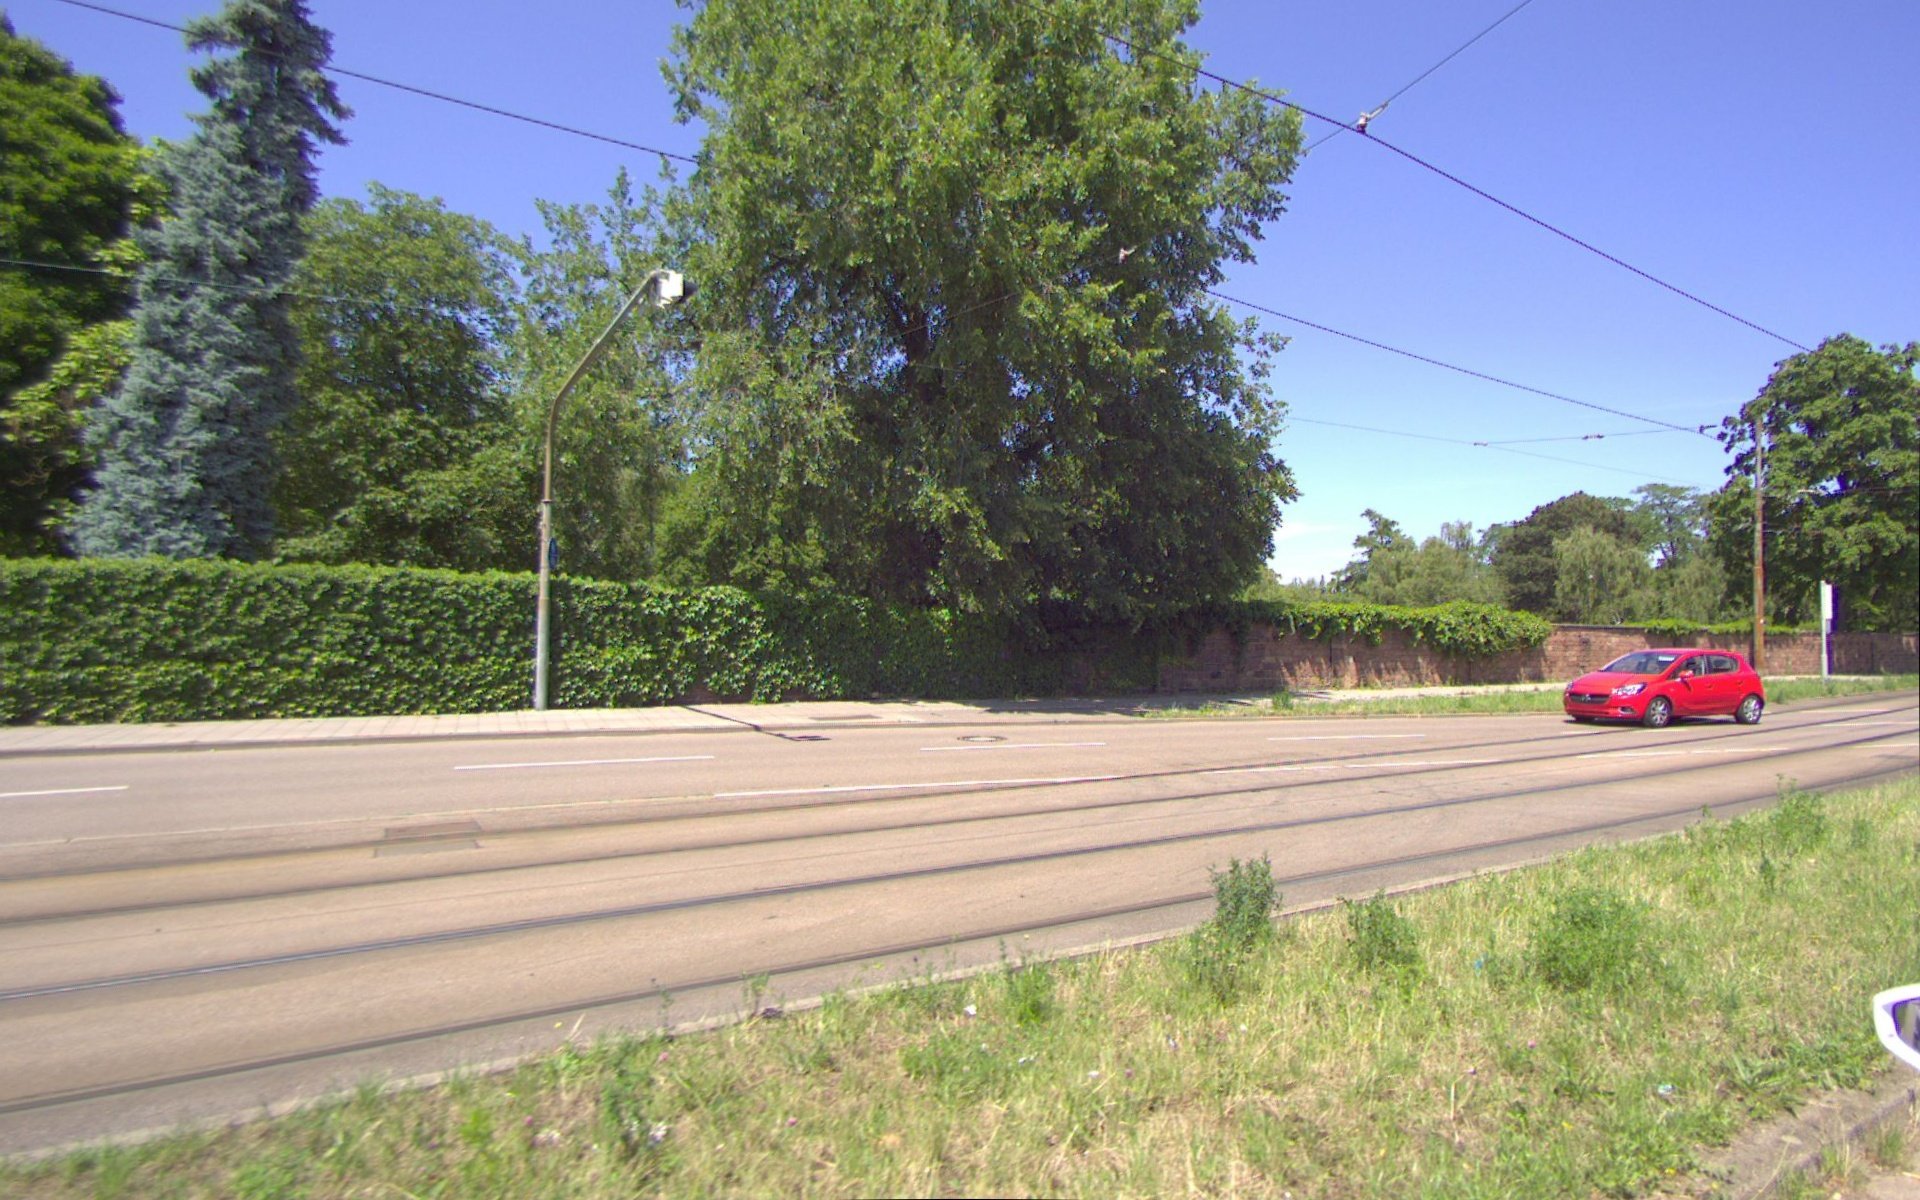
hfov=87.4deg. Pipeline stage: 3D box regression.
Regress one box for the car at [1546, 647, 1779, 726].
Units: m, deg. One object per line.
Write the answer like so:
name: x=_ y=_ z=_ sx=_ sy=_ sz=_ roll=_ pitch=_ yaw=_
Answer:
car: x=14.008 y=1.674 z=20.056 sx=4.216 sy=1.432 sz=1.704 roll=1 pitch=-2 yaw=-20
